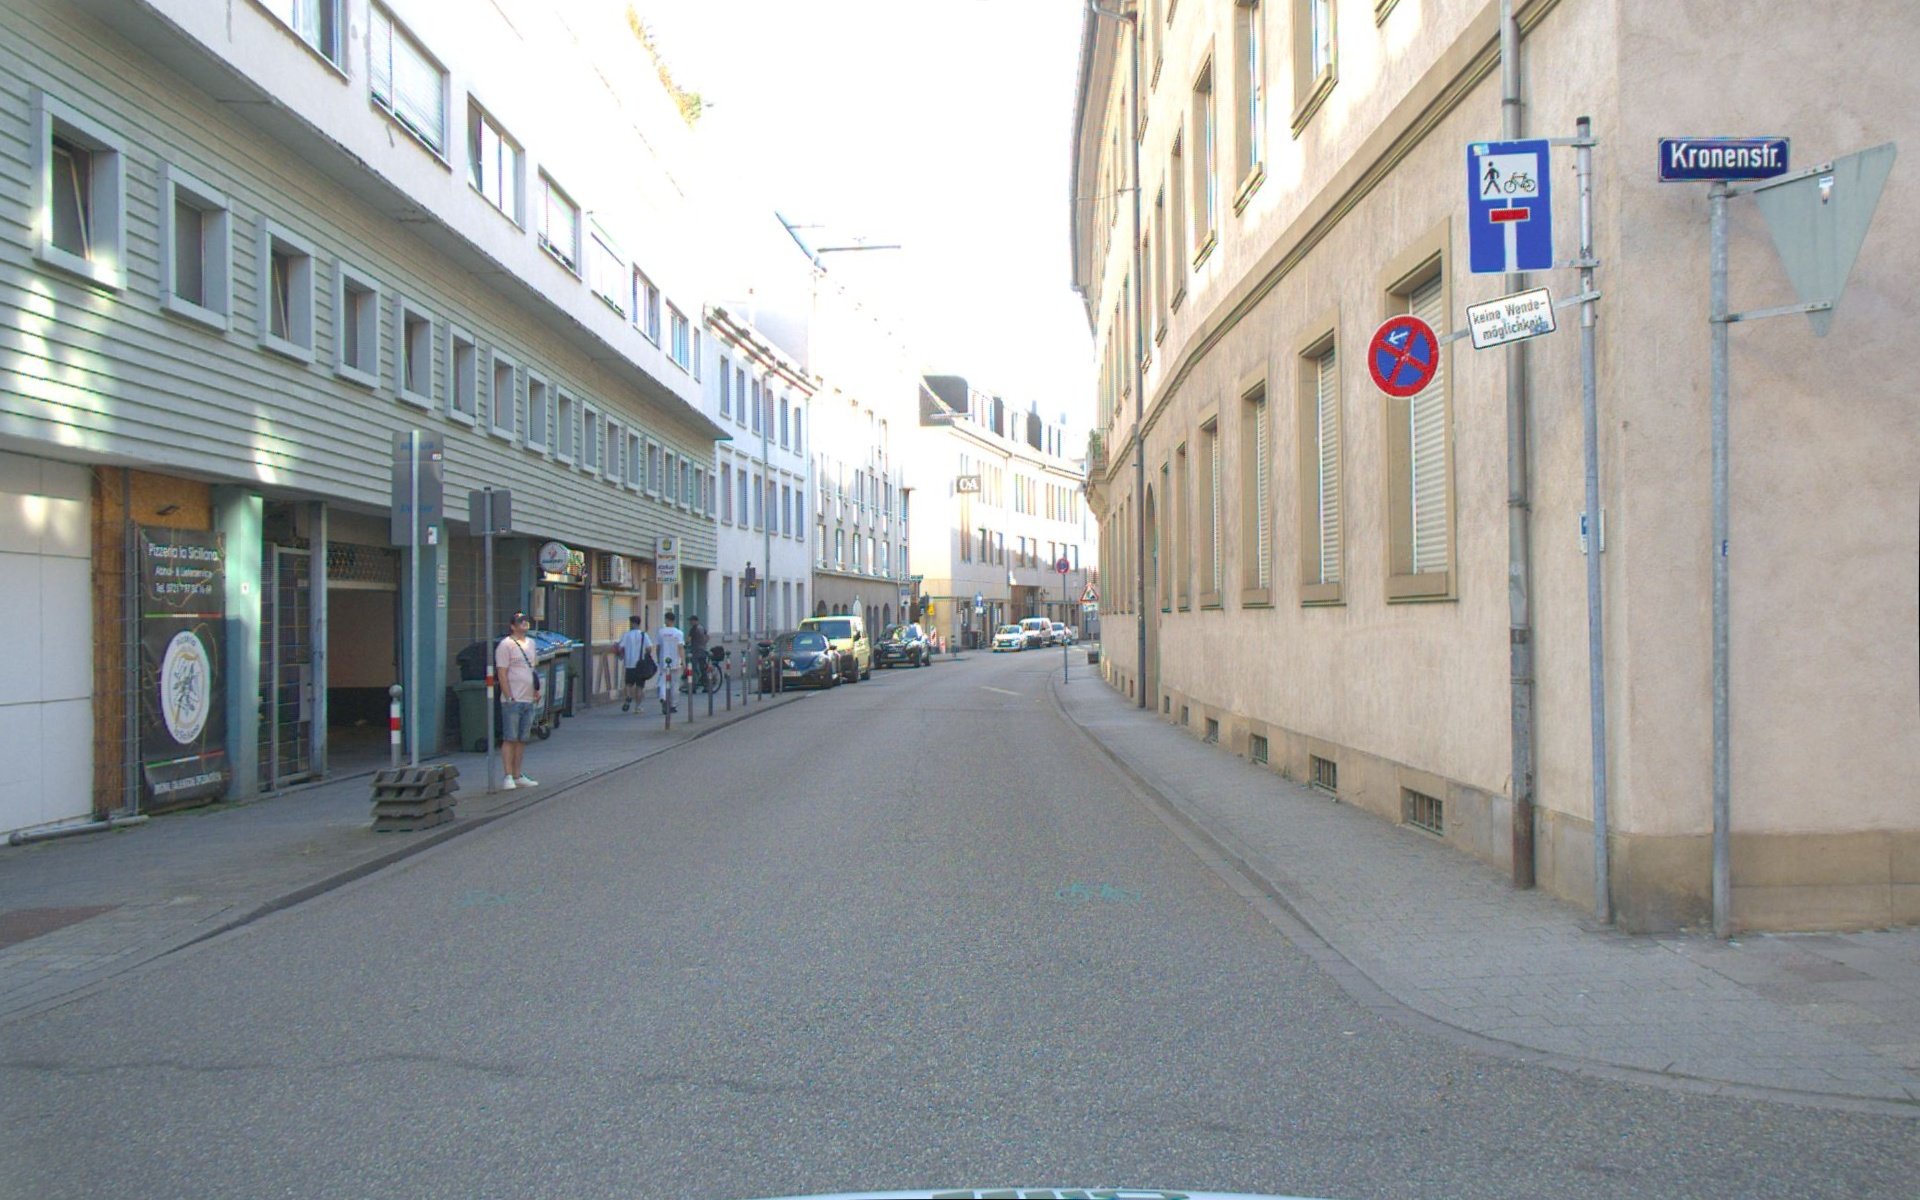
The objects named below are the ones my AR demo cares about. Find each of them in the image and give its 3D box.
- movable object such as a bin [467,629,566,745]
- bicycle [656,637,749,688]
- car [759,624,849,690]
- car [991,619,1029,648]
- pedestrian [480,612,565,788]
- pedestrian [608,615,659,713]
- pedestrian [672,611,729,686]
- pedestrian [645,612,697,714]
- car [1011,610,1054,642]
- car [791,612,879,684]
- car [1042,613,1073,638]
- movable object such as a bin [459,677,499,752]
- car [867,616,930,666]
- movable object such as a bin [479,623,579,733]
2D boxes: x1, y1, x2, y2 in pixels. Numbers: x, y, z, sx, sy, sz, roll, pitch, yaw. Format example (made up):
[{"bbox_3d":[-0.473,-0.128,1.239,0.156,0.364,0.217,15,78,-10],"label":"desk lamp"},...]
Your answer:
[{"bbox_3d":[-6.209,1.197,23.245,0.948,1.497,1.474,-1,1,0],"label":"movable object such as a bin"},{"bbox_3d":[-6.187,1.507,39.656,2.086,1.183,0.823,-2,-1,25],"label":"bicycle"},{"bbox_3d":[-4.037,1.449,43.351,1.781,1.512,4.077,-4,-1,2],"label":"car"},{"bbox_3d":[2.897,1.922,95.435,1.635,1.533,3.797,-3,-1,9],"label":"car"},{"bbox_3d":[-4.345,0.976,16.435,0.485,1.699,0.624,1,-1,43],"label":"pedestrian"},{"bbox_3d":[-5.812,1.136,29.495,0.658,1.699,0.895,-2,-1,2],"label":"pedestrian"},{"bbox_3d":[-6.223,1.160,39.675,1.056,1.759,0.801,-2,-1,25],"label":"pedestrian"},{"bbox_3d":[-5.152,1.113,29.544,0.683,1.765,0.829,-2,-1,2],"label":"pedestrian"},{"bbox_3d":[4.453,1.566,101.134,1.635,1.850,4.555,-3,-1,14],"label":"car"},{"bbox_3d":[-3.639,1.361,48.929,1.841,1.899,4.866,-4,-1,4],"label":"car"},{"bbox_3d":[6.336,1.660,107.101,1.244,1.533,3.404,-3,-1,15],"label":"car"},{"bbox_3d":[-6.467,1.534,22.231,0.385,0.959,0.467,-1,0,0],"label":"movable object such as a bin"},{"bbox_3d":[-2.369,1.584,65.057,1.703,1.741,4.194,-4,-1,8],"label":"car"},{"bbox_3d":[-6.412,1.140,24.684,1.099,1.547,1.342,-1,0,0],"label":"movable object such as a bin"}]
